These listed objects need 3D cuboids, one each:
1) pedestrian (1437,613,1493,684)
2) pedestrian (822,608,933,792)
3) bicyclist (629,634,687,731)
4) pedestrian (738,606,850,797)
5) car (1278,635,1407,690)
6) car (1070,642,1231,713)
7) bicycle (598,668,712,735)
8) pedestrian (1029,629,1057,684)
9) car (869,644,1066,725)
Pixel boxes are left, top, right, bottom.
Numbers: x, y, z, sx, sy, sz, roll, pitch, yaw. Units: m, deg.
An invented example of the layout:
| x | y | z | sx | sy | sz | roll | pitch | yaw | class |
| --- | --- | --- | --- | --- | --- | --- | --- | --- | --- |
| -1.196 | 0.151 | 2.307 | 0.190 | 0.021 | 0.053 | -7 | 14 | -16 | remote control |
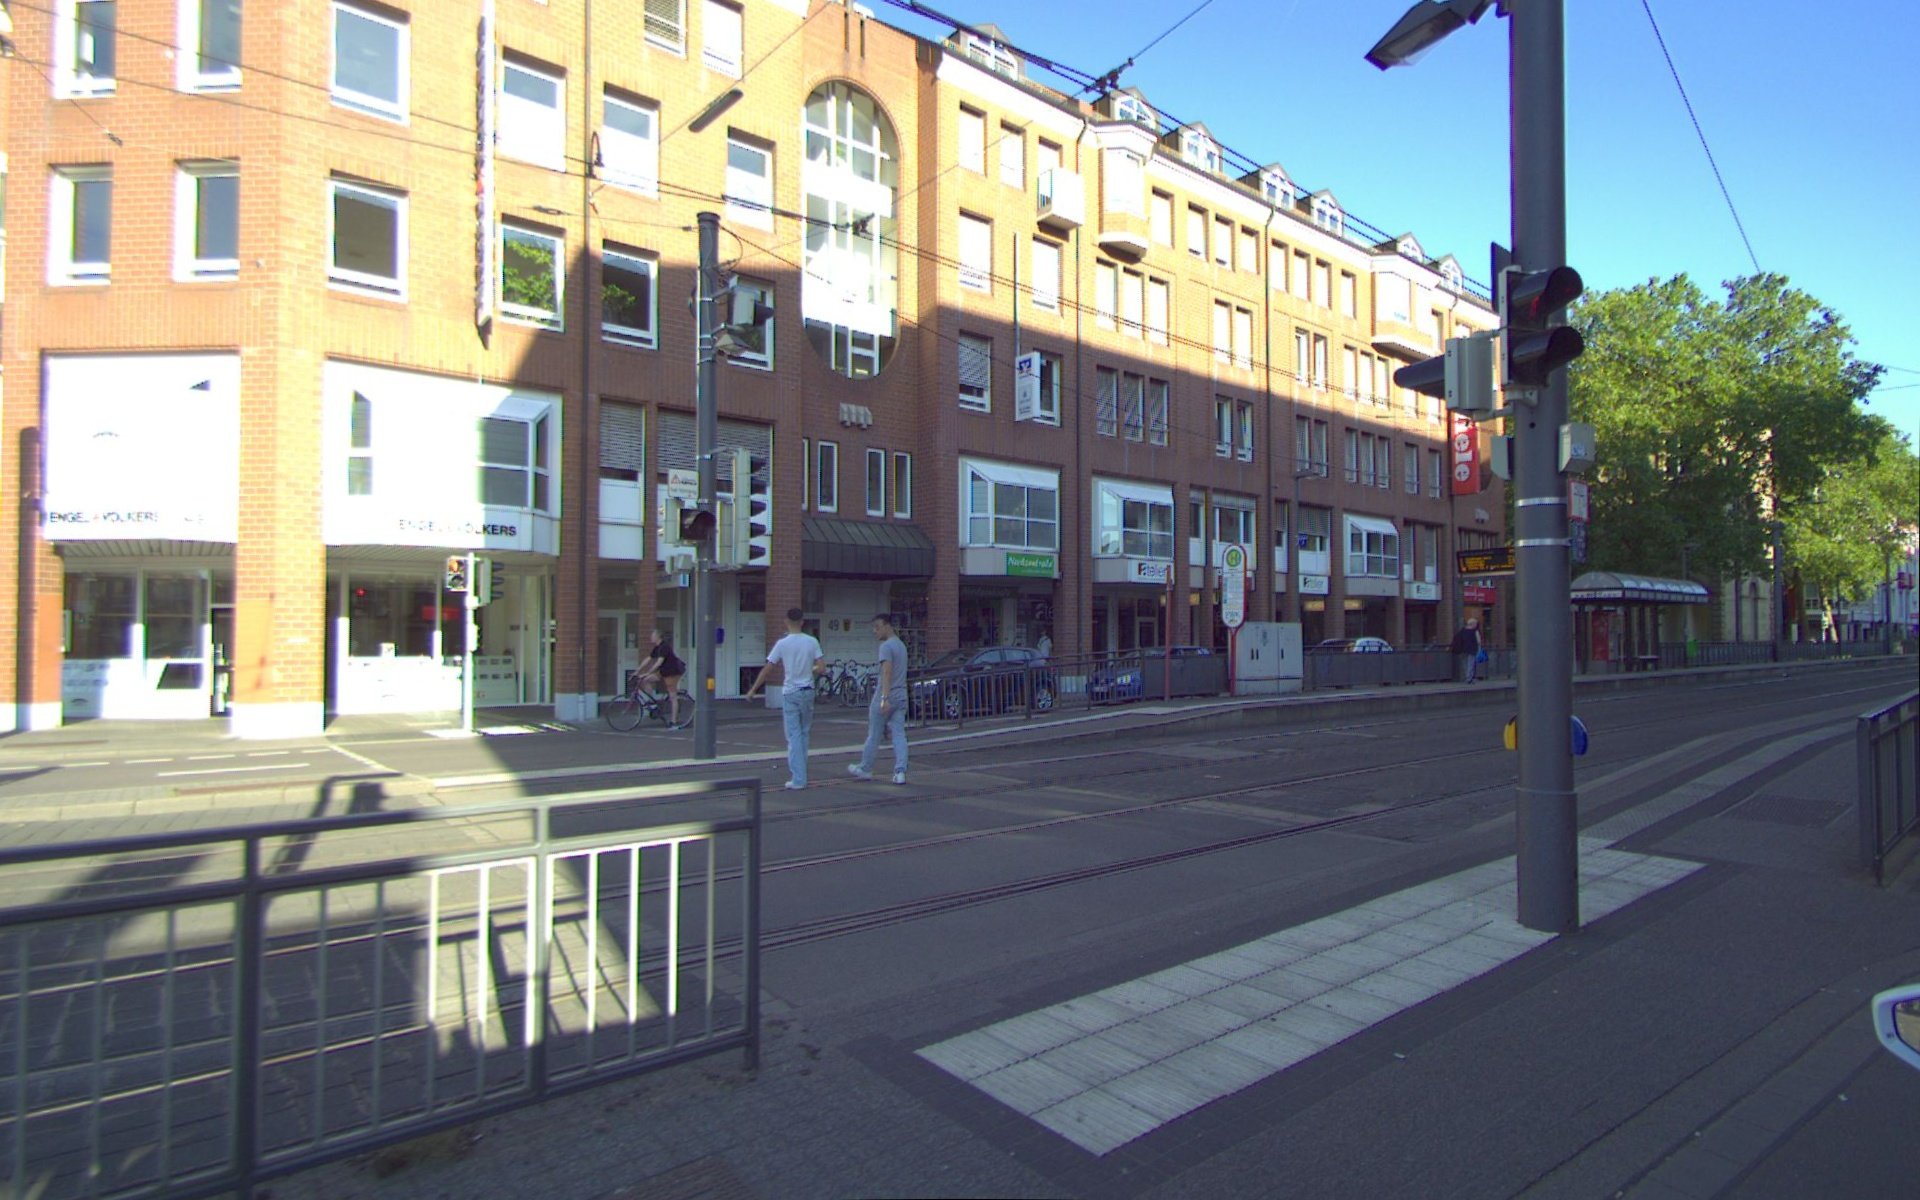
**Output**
| x | y | z | sx | sy | sz | roll | pitch | yaw | class |
| --- | --- | --- | --- | --- | --- | --- | --- | --- | --- |
| 12.281 | 1.168 | 24.424 | 0.959 | 1.684 | 0.904 | 2 | -2 | -40 | pedestrian |
| -0.859 | 0.994 | 10.387 | 0.850 | 1.790 | 0.805 | 2 | 0 | -28 | pedestrian |
| -5.819 | 1.562 | 19.367 | 0.805 | 1.790 | 0.729 | 2 | 0 | -42 | bicyclist |
| -1.668 | 0.972 | 10.026 | 0.850 | 1.790 | 0.805 | 2 | 0 | -28 | pedestrian |
| 12.028 | 1.986 | 31.478 | 4.254 | 1.614 | 1.895 | 4 | -5 | -39 | car |
| 4.936 | 1.926 | 25.755 | 4.163 | 1.621 | 1.877 | 1 | -3 | -41 | car |
| -5.844 | 1.925 | 19.334 | 2.040 | 1.135 | 0.567 | 2 | 0 | -42 | bicycle |
| 2.567 | 1.741 | 31.193 | 0.632 | 1.684 | 0.606 | 2 | -2 | -40 | pedestrian |
| 0.224 | 1.784 | 21.955 | 4.087 | 1.549 | 1.886 | 1 | -3 | -41 | car |
